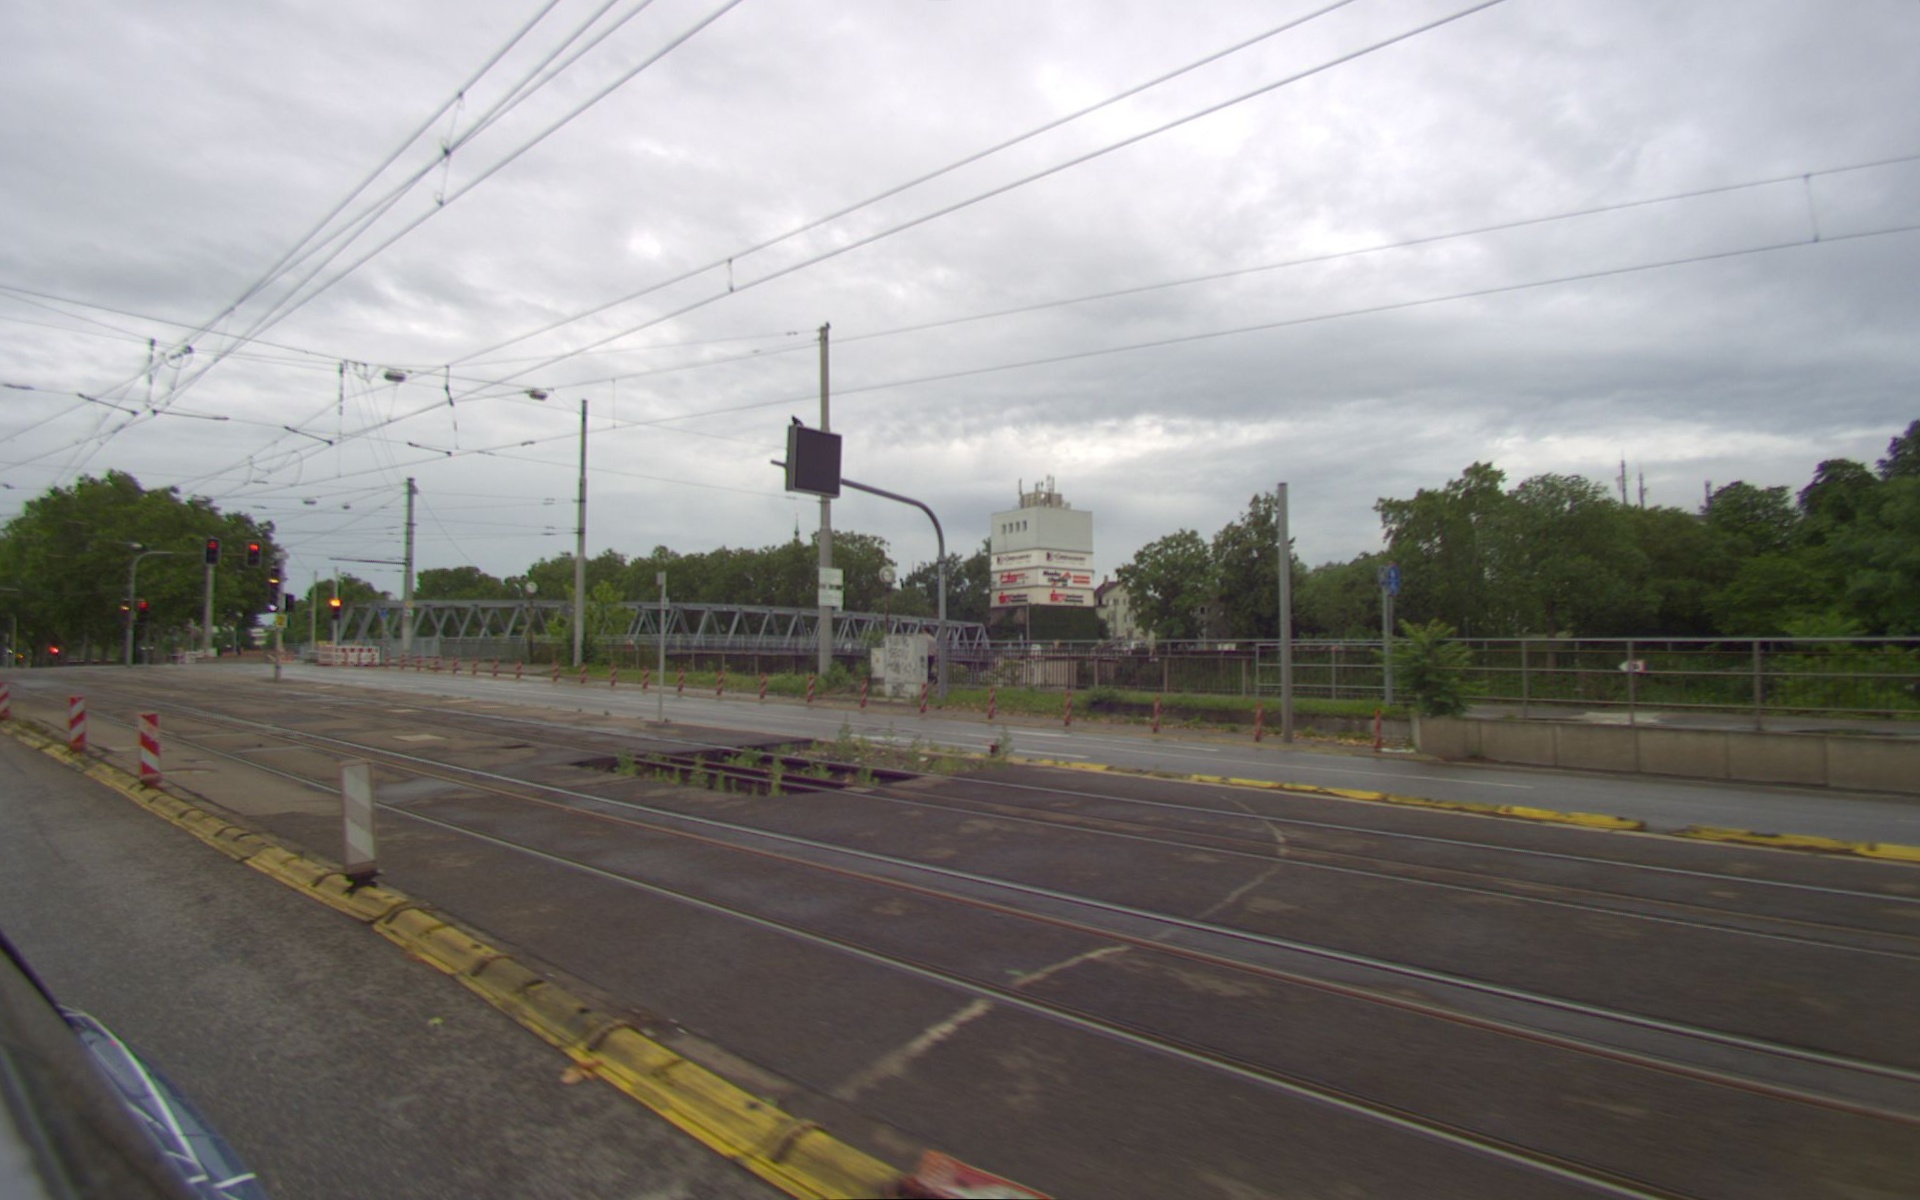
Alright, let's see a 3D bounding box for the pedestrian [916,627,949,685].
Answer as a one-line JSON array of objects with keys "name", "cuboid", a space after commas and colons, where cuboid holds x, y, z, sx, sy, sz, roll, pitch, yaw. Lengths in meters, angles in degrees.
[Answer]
[{"name": "pedestrian", "cuboid": [-0.825, 1.686, 30.464, 0.618, 1.701, 0.756, -3, -4, 41]}]
